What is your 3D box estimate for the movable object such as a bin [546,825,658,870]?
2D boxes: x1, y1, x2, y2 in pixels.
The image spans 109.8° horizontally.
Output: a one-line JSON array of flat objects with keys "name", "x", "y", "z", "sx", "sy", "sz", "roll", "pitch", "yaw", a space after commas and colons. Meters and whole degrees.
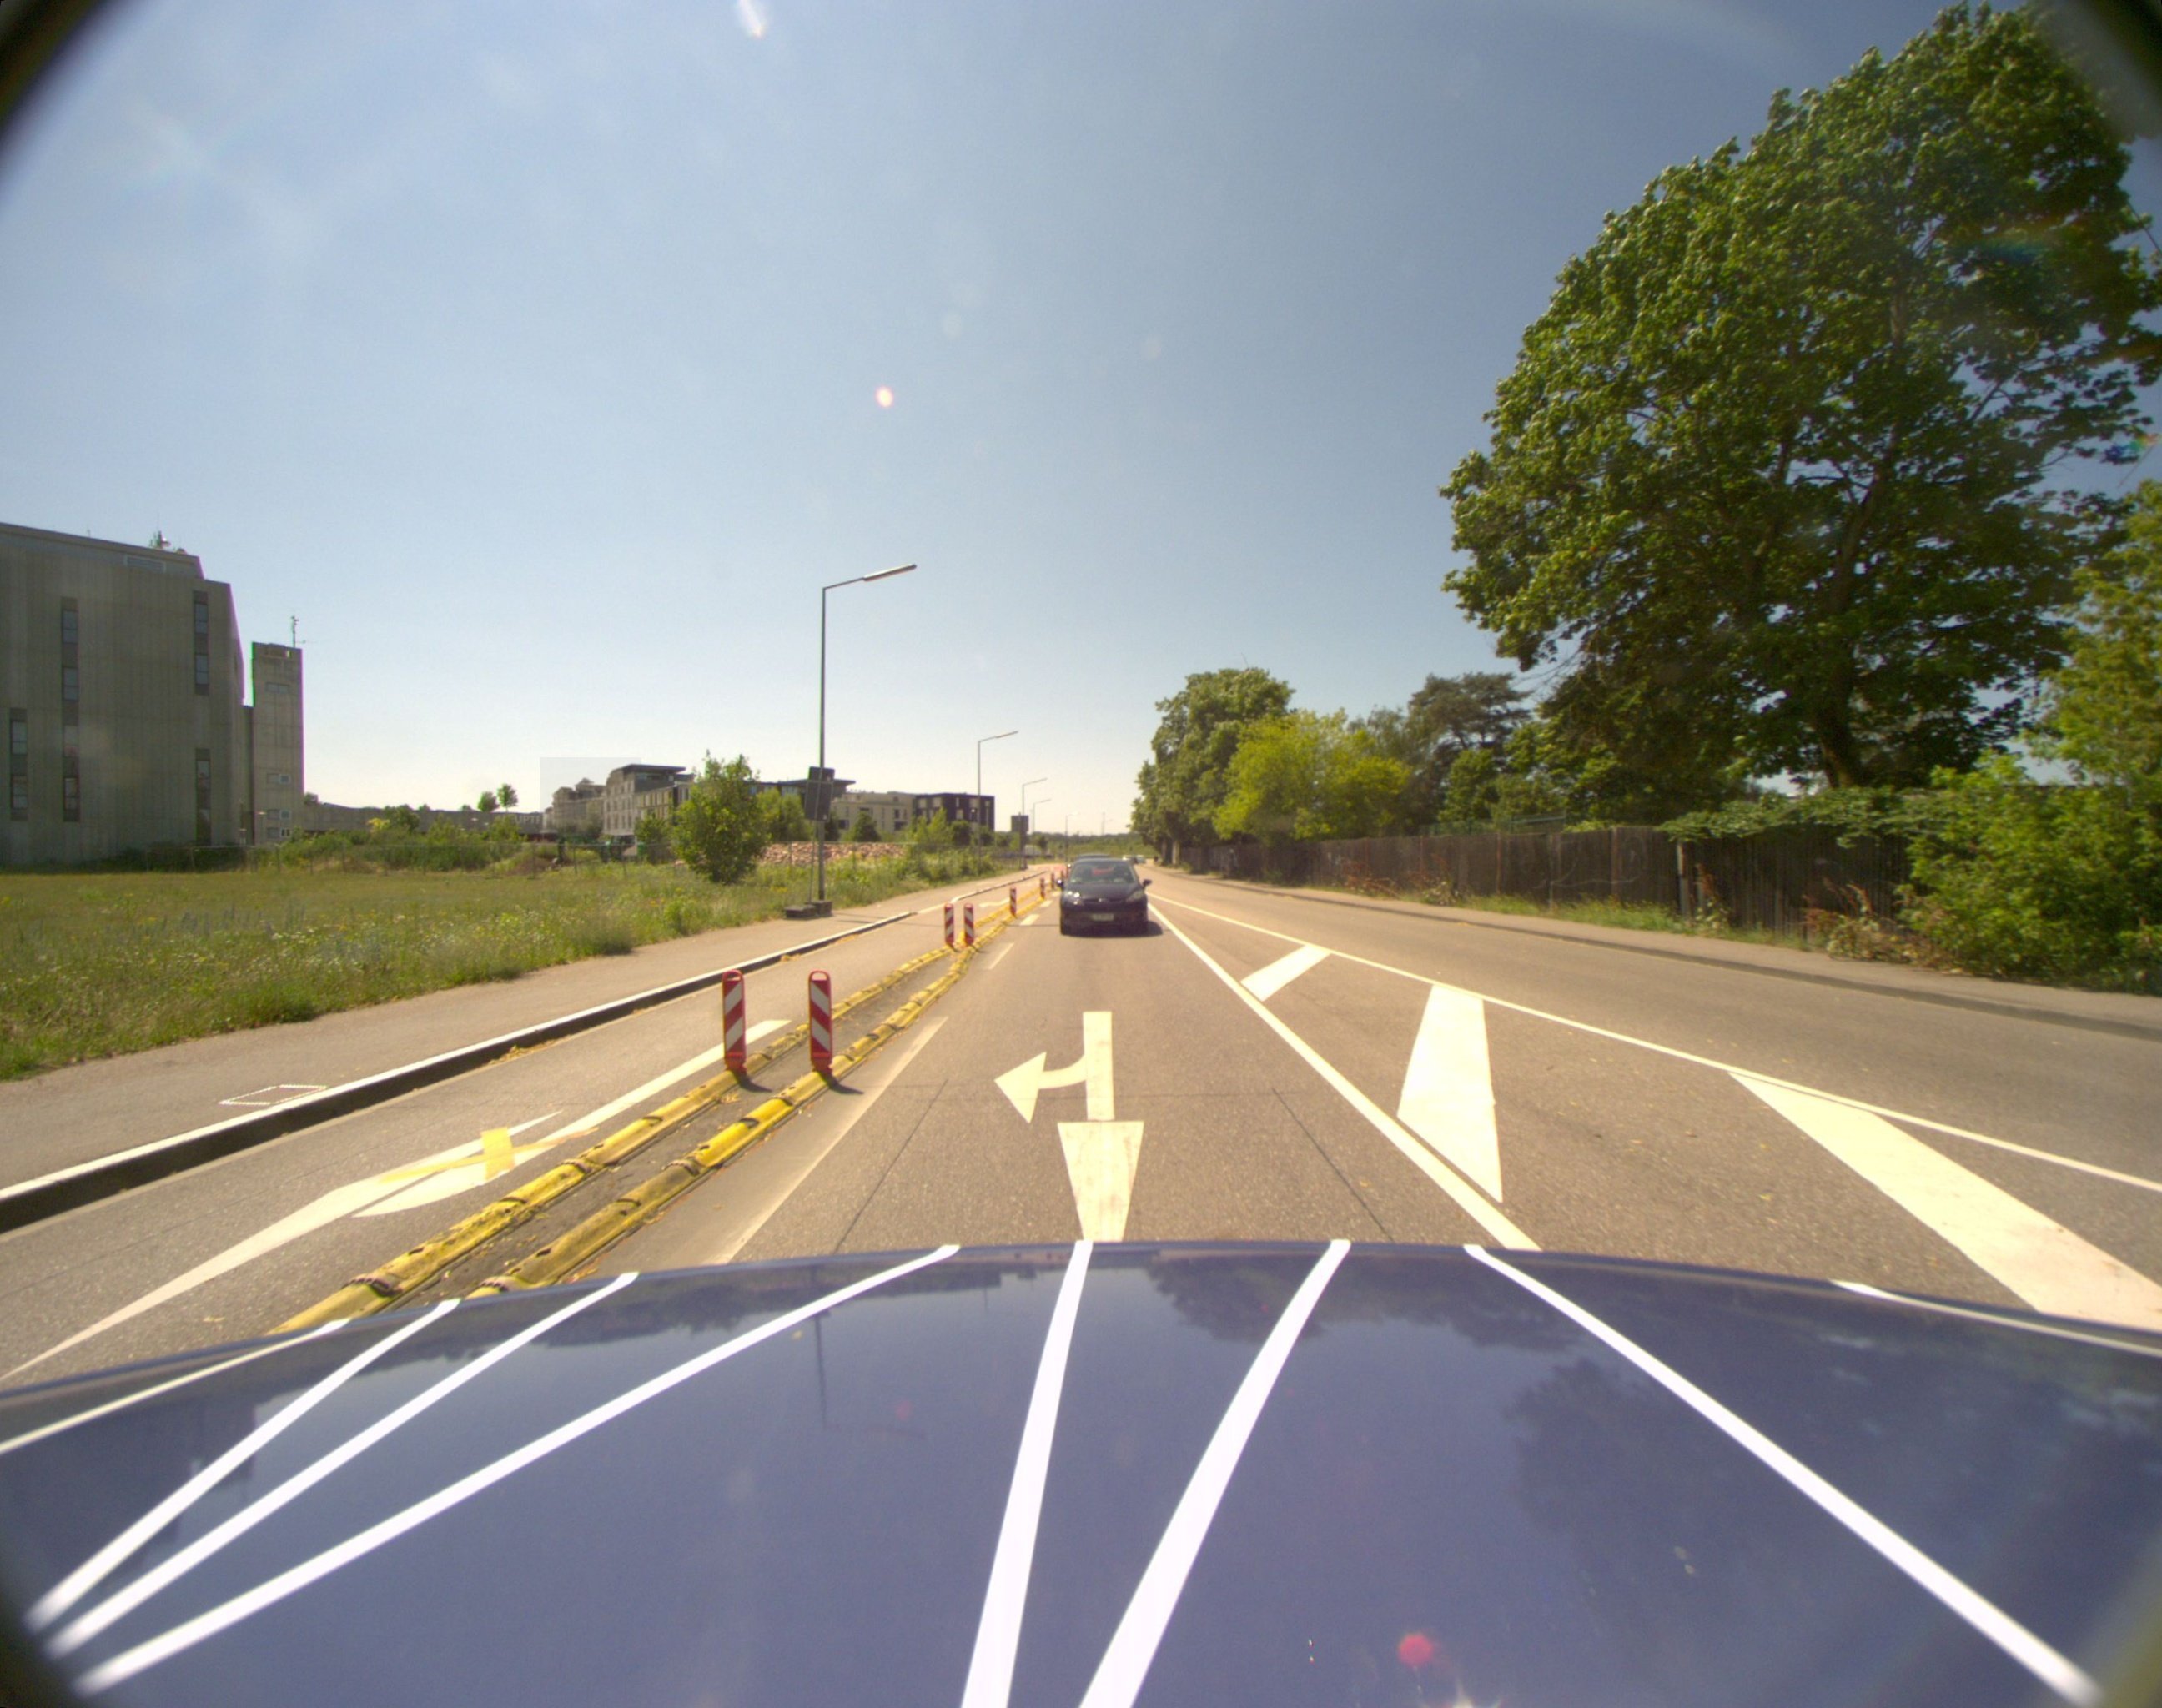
[{"name": "movable object such as a bin", "x": -36.458, "y": -0.530, "z": 58.222, "sx": 2.810, "sy": 3.131, "sz": 7.609, "roll": -1, "pitch": 1, "yaw": 9}]

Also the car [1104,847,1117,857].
[{"name": "car", "x": 4.372, "y": -0.313, "z": 112.039, "sx": 1.759, "sy": 1.536, "sz": 3.693, "roll": 0, "pitch": 0, "yaw": -1}]

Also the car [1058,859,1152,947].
[{"name": "car", "x": 0.485, "y": 0.868, "z": 15.208, "sx": 1.632, "sy": 1.499, "sz": 3.819, "roll": 0, "pitch": 0, "yaw": 2}]

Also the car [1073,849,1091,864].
[{"name": "car", "x": 0.069, "y": 0.231, "z": 76.922, "sx": 1.759, "sy": 1.536, "sz": 3.693, "roll": 0, "pitch": 0, "yaw": -1}]

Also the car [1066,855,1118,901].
[{"name": "car", "x": 0.436, "y": 0.798, "z": 27.406, "sx": 1.720, "sy": 1.518, "sz": 4.212, "roll": 0, "pitch": 0, "yaw": 2}]

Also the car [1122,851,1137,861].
[{"name": "car", "x": 7.051, "y": 0.283, "z": 111.053, "sx": 1.719, "sy": 1.455, "sz": 3.841, "roll": 1, "pitch": 0, "yaw": -4}]
